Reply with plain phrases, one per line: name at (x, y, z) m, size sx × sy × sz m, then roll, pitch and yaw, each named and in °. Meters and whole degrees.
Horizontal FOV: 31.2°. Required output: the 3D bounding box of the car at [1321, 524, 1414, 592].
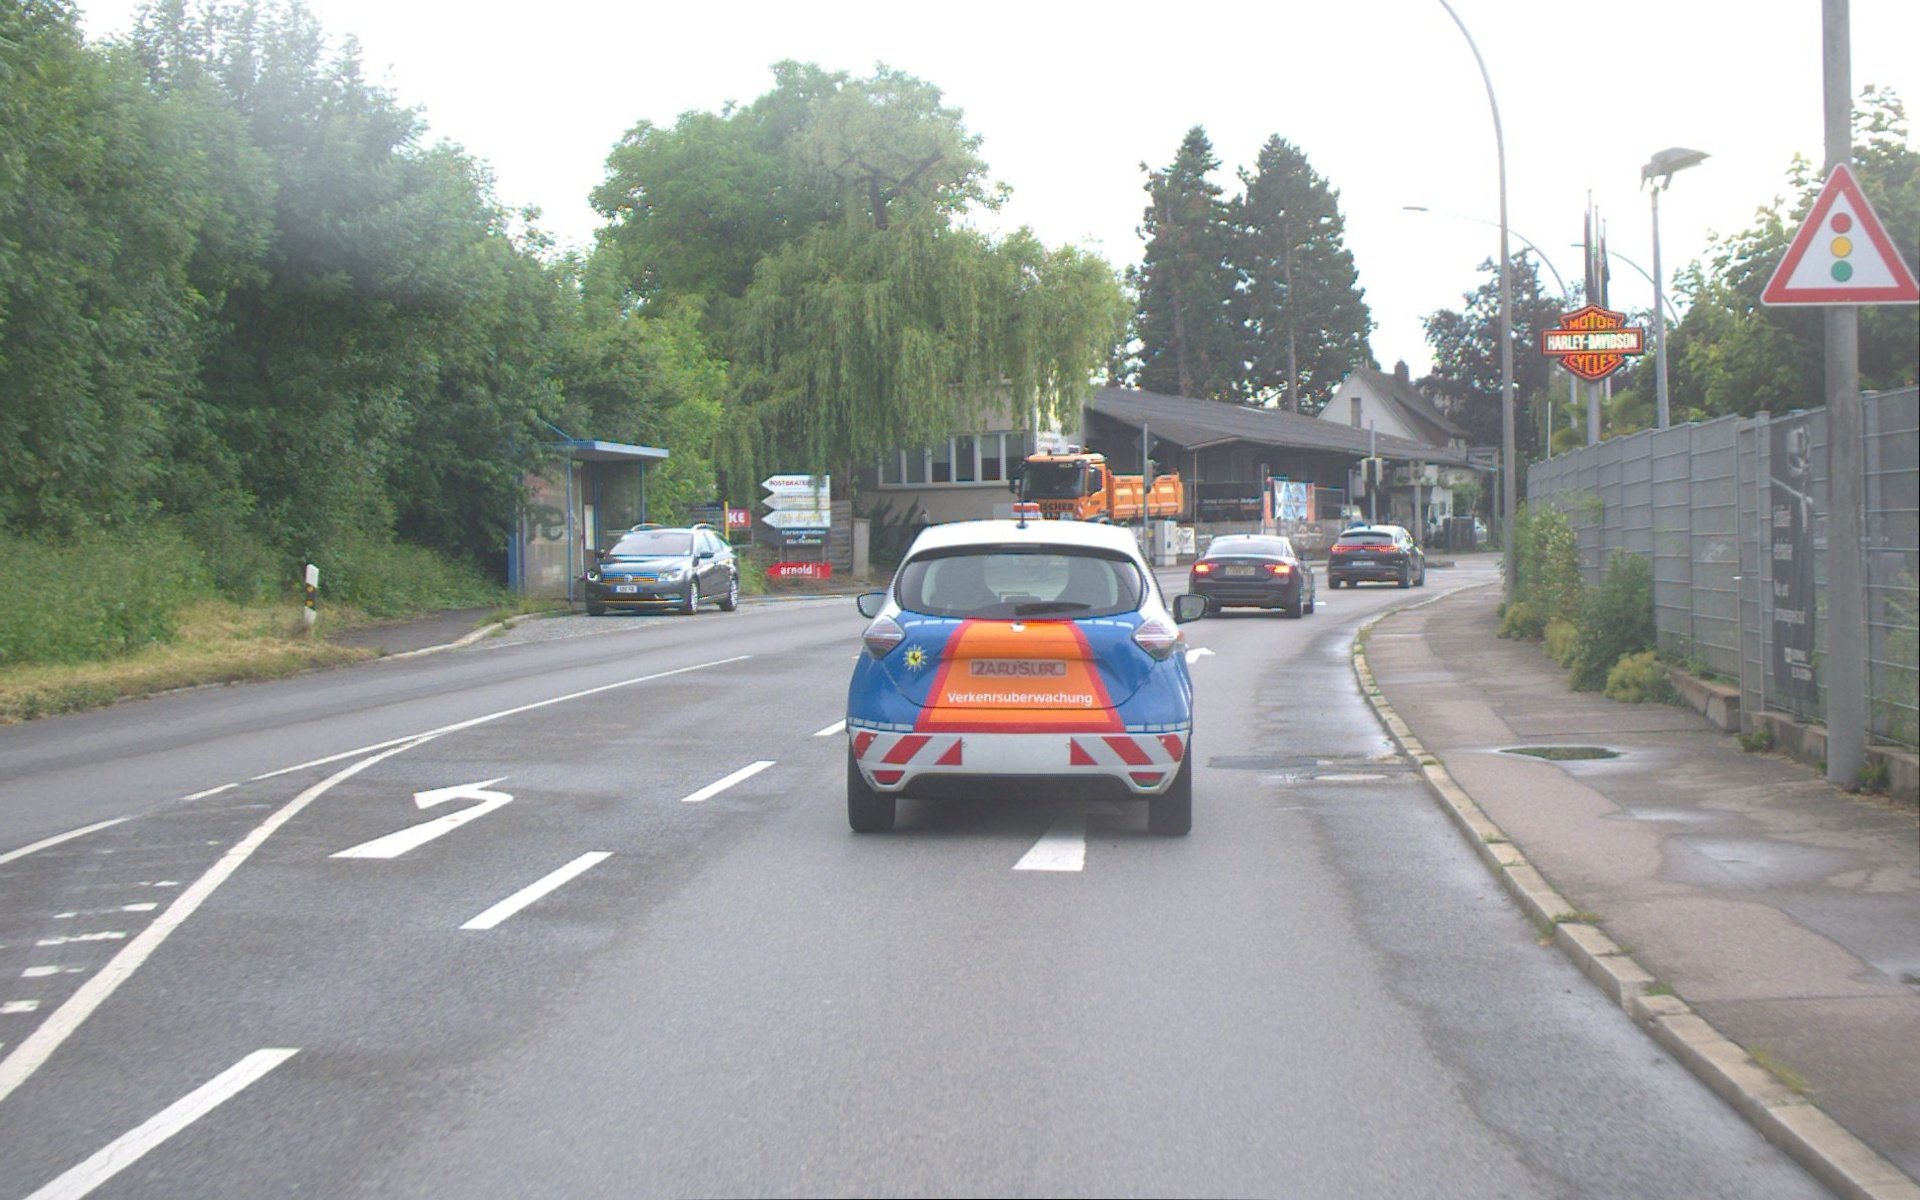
car at (9.221, -0.934, 77.903) m, size 1.994 × 1.415 × 3.999 m, roll 2°, pitch 0°, yaw 6°

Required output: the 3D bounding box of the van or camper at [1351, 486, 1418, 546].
van or camper at (18.821, -3.711, 152.271) m, size 1.861 × 2.429 × 5.229 m, roll 2°, pitch 0°, yaw 19°

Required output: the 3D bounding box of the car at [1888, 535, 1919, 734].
car at (8.818, 0.309, 24.644) m, size 3.989 × 1.399 × 1.789 m, roll 2°, pitch 0°, yaw 10°

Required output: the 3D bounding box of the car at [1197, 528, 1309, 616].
car at (4.907, -0.442, 57.248) m, size 1.721 × 1.371 × 3.933 m, roll 2°, pitch 0°, yaw 6°

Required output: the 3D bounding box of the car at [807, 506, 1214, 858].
car at (0.291, 0.342, 18.214) m, size 1.888 × 1.626 × 4.000 m, roll 1°, pitch 1°, yaw 2°

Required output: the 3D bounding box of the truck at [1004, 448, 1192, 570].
truck at (4.364, -2.752, 106.213) m, size 2.701 × 3.400 × 9.060 m, roll 2°, pitch 0°, yaw 23°

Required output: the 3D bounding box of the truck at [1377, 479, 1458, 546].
truck at (20.997, -3.968, 157.558) m, size 2.397 × 2.917 × 5.951 m, roll 2°, pitch 1°, yaw 20°

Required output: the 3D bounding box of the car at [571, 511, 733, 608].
car at (-5.057, -0.642, 57.062) m, size 1.994 × 1.469 × 4.700 m, roll 2°, pitch 0°, yaw 3°
